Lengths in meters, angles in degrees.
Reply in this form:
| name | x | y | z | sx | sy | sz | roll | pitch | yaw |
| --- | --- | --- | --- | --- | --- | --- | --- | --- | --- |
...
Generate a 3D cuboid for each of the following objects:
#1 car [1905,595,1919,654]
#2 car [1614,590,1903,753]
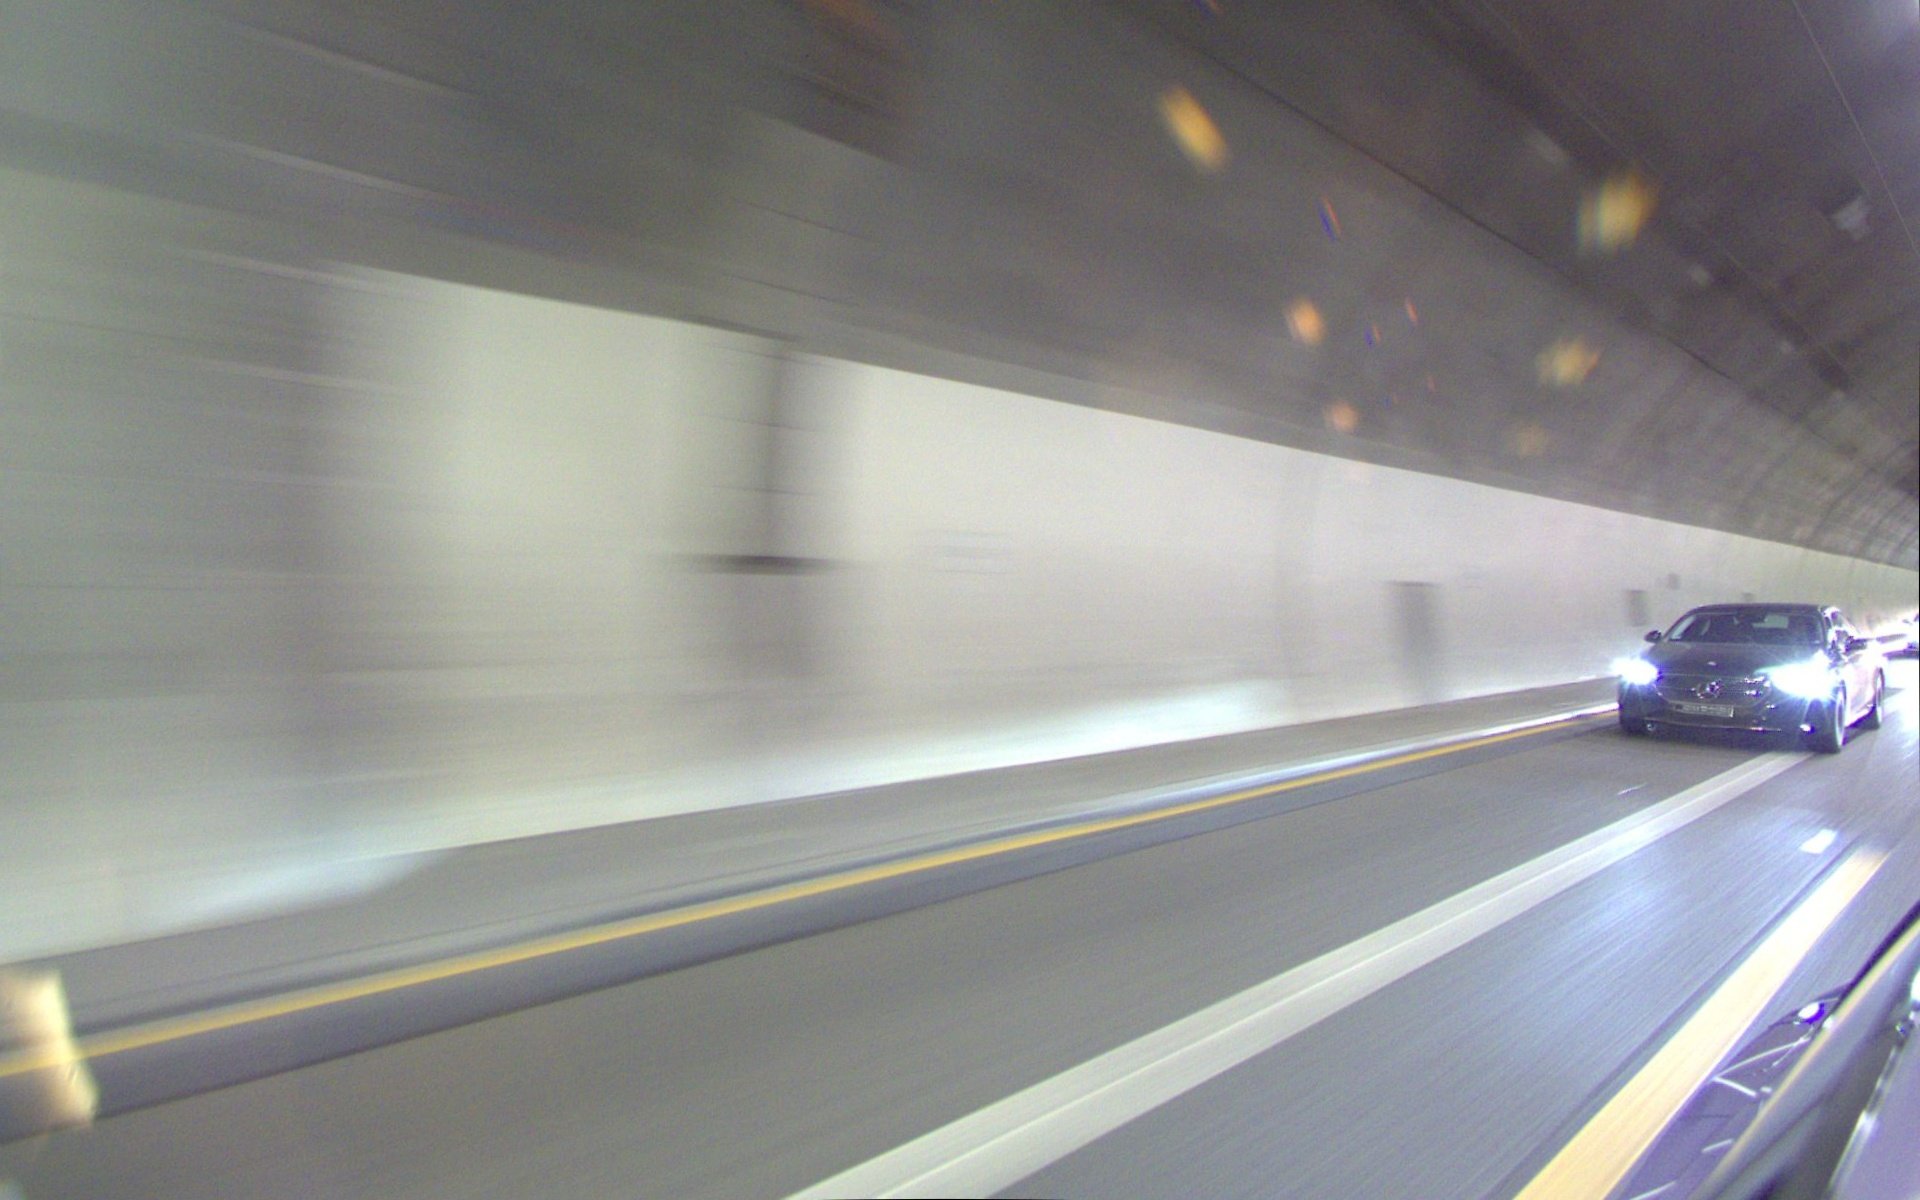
| name | x | y | z | sx | sy | sz | roll | pitch | yaw |
| --- | --- | --- | --- | --- | --- | --- | --- | --- | --- |
| car | 27.893 | 0.648 | 28.084 | 4.660 | 1.560 | 1.996 | -1 | 0 | -42 |
| car | 9.159 | 0.654 | 11.468 | 4.443 | 1.496 | 1.824 | 0 | 0 | -42 |
